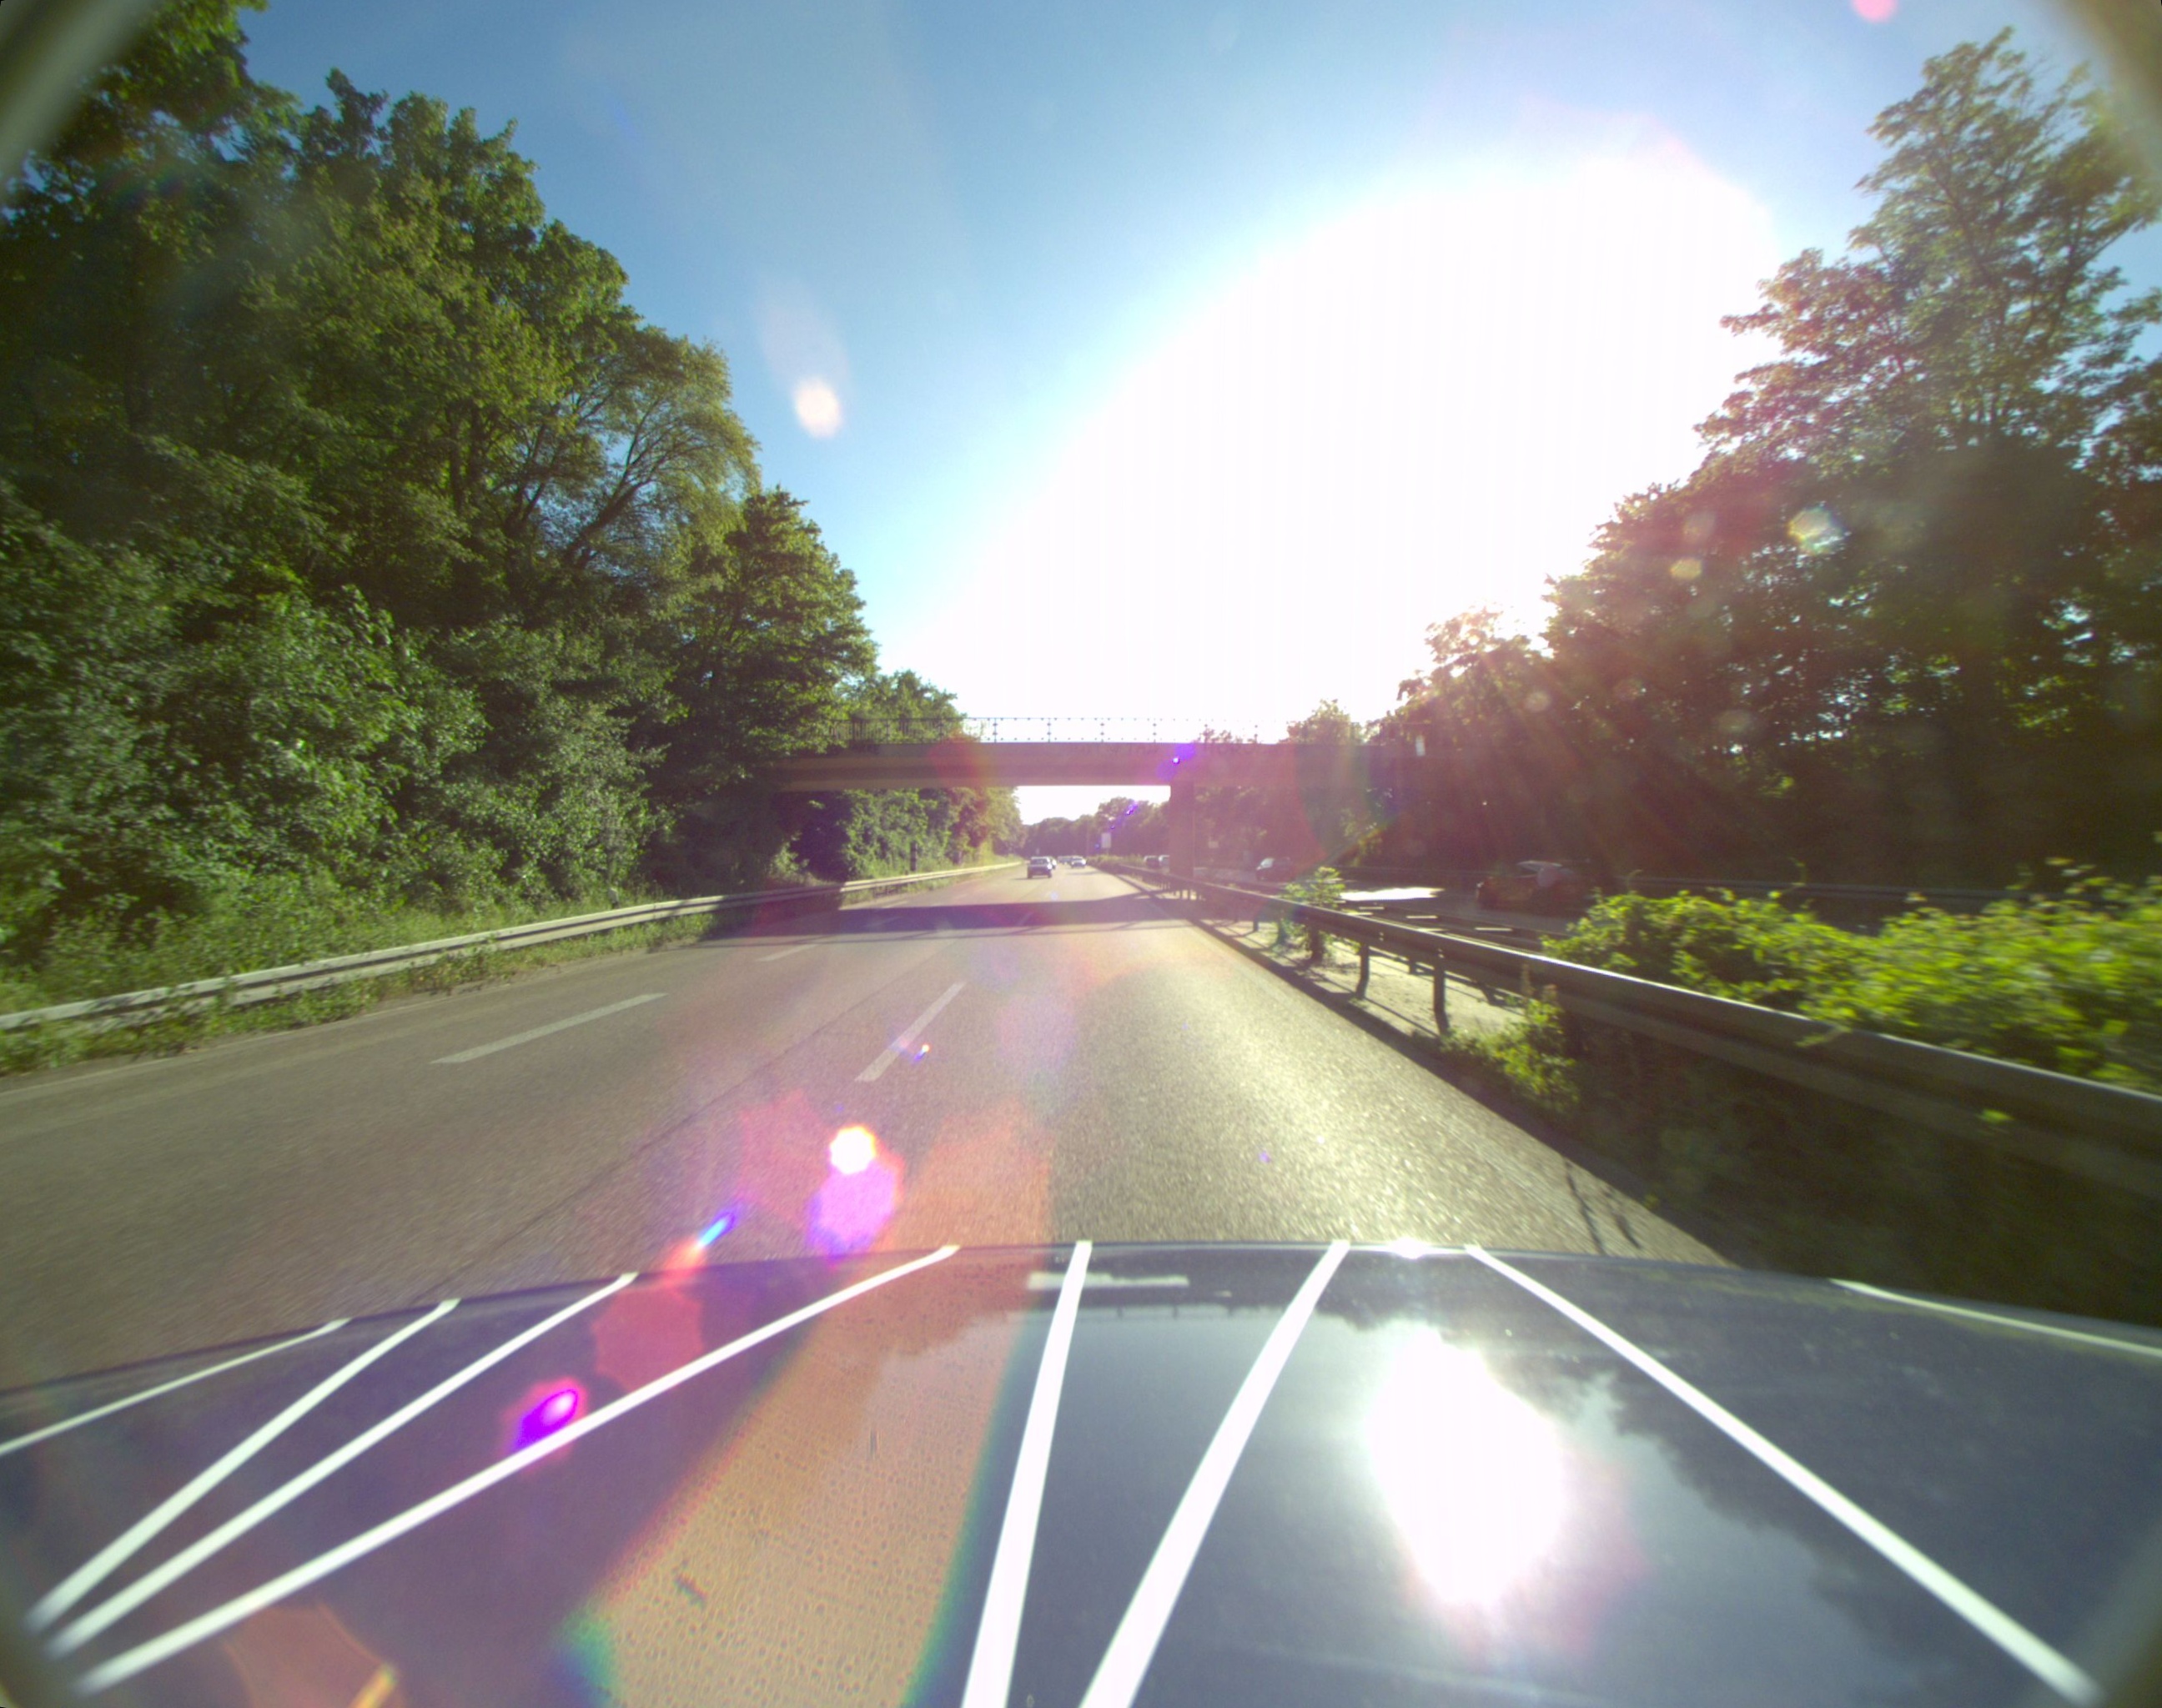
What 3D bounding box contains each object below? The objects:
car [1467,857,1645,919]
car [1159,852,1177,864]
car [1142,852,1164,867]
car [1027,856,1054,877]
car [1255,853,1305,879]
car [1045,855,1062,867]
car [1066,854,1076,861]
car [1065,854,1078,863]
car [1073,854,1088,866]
[{"bbox_3d":[12.767,0.834,20.837,1.966,1.441,4.583,-2,0,0],"label":"car"},{"bbox_3d":[12.274,0.575,107.547,1.965,1.649,5.040,0,0,1],"label":"car"},{"bbox_3d":[8.041,0.596,85.144,1.966,1.714,4.591,0,0,0],"label":"car"},{"bbox_3d":[-3.031,0.906,57.769,1.801,1.453,4.355,-1,0,0],"label":"car"},{"bbox_3d":[12.667,0.728,48.687,1.965,1.442,4.706,-2,0,0],"label":"car"},{"bbox_3d":[-3.447,0.845,93.823,1.802,1.453,4.353,0,0,-6],"label":"car"},{"bbox_3d":[-1.953,0.673,147.725,1.801,1.453,4.400,0,0,-5],"label":"car"},{"bbox_3d":[-1.609,0.701,128.333,1.801,1.453,4.354,0,0,-5],"label":"car"},{"bbox_3d":[-0.097,0.767,101.386,1.904,1.453,4.355,-1,0,-1],"label":"car"}]
